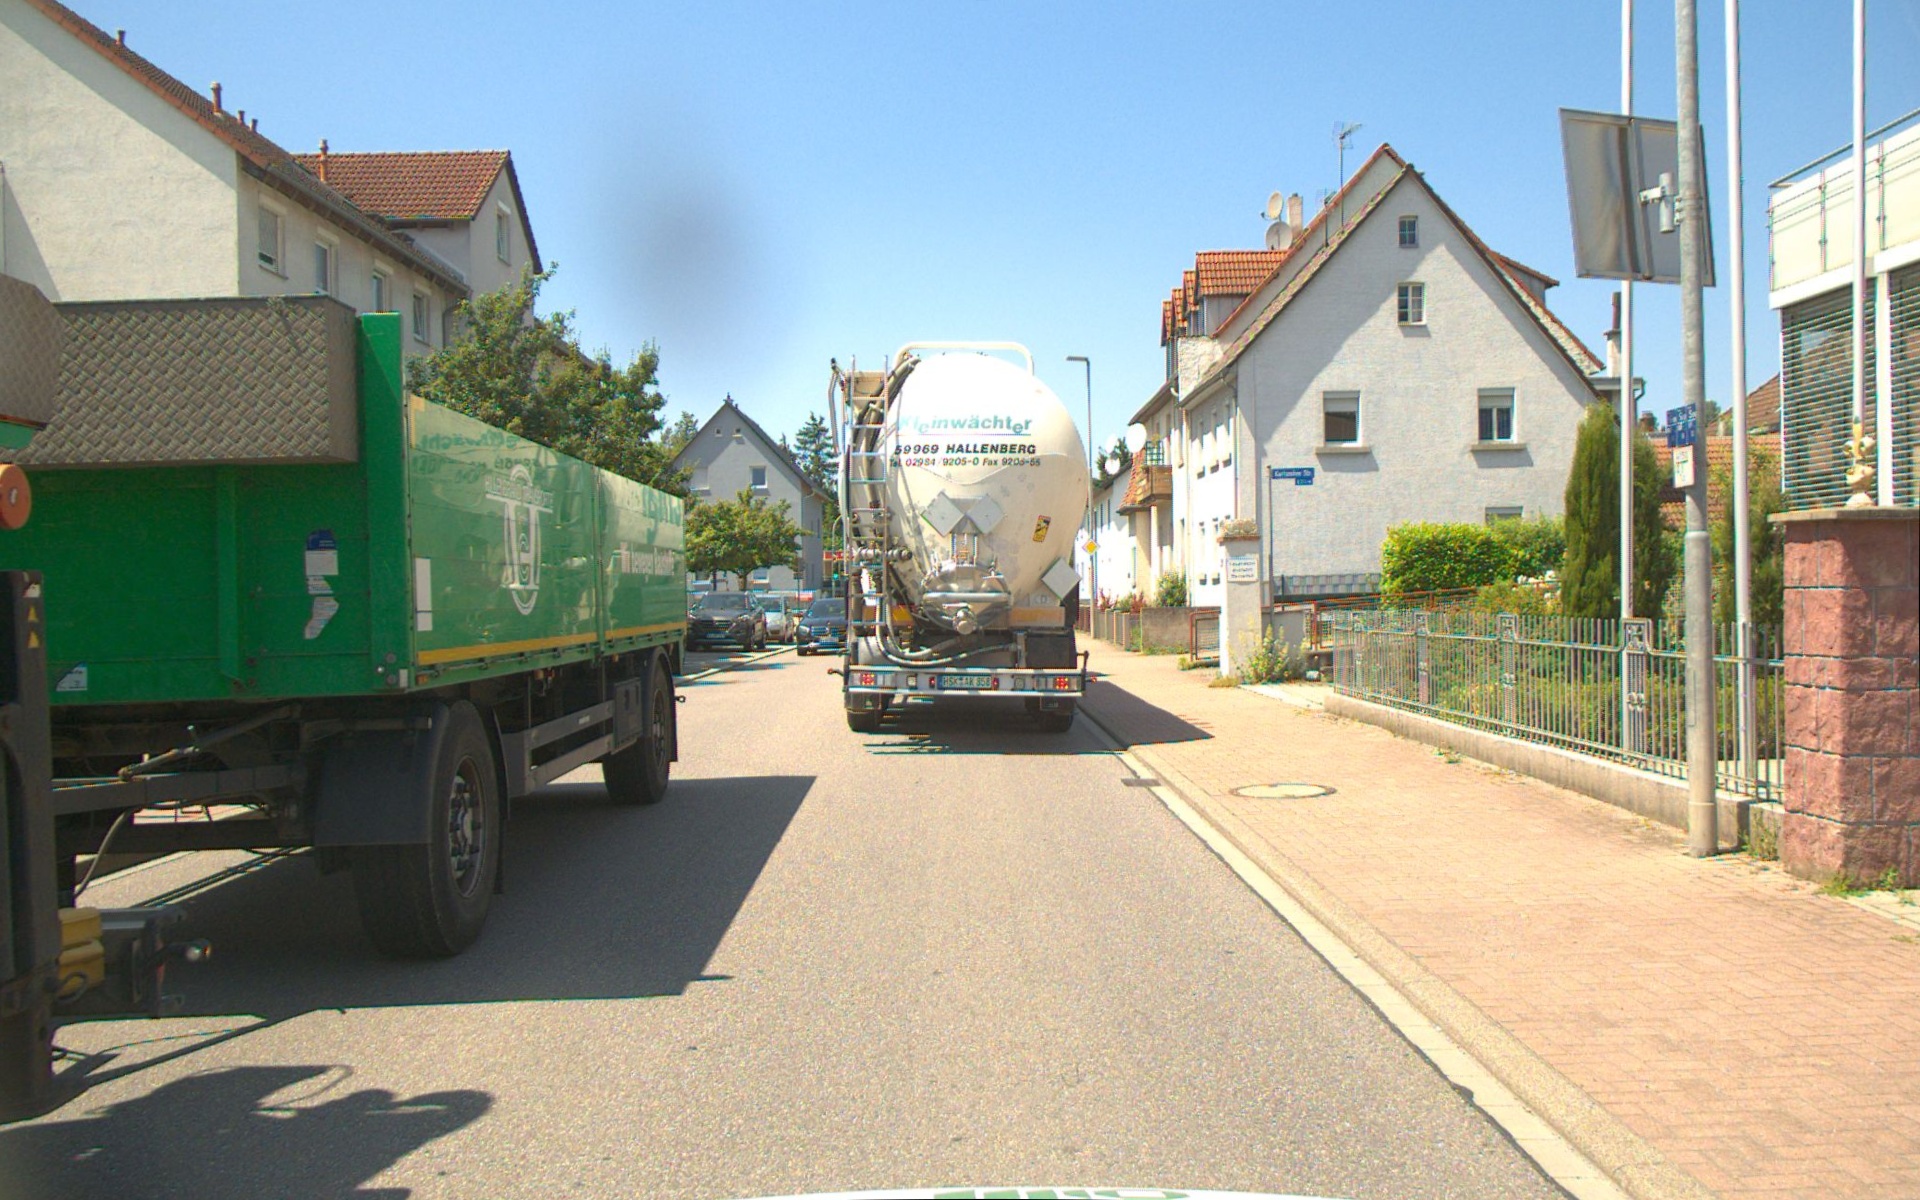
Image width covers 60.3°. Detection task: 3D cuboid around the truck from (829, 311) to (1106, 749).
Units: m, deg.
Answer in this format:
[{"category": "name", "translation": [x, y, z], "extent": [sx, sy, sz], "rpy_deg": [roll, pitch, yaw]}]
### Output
[{"category": "truck", "translation": [-0.046, -0.668, 20.225], "extent": [2.587, 4.086, 9.558], "rpy_deg": [0, 0, -1]}]

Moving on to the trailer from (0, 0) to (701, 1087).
[{"category": "trailer", "translation": [-3.274, -0.386, 9.268], "extent": [2.479, 3.712, 8.459], "rpy_deg": [-1, 0, -2]}]

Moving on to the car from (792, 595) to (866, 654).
[{"category": "car", "translation": [-3.538, 0.628, 45.426], "extent": [1.695, 1.486, 4.693], "rpy_deg": [-2, 0, -1]}]

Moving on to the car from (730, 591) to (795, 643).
[{"category": "car", "translation": [-6.356, 0.519, 53.533], "extent": [1.663, 1.608, 3.837], "rpy_deg": [0, 0, -1]}]

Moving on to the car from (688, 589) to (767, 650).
[{"category": "car", "translation": [-6.542, 0.533, 46.826], "extent": [1.657, 1.648, 3.997], "rpy_deg": [0, 0, 0]}]

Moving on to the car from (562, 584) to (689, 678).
[{"category": "car", "translation": [-6.496, 0.555, 32.534], "extent": [1.671, 1.716, 4.525], "rpy_deg": [0, 0, -1]}]
